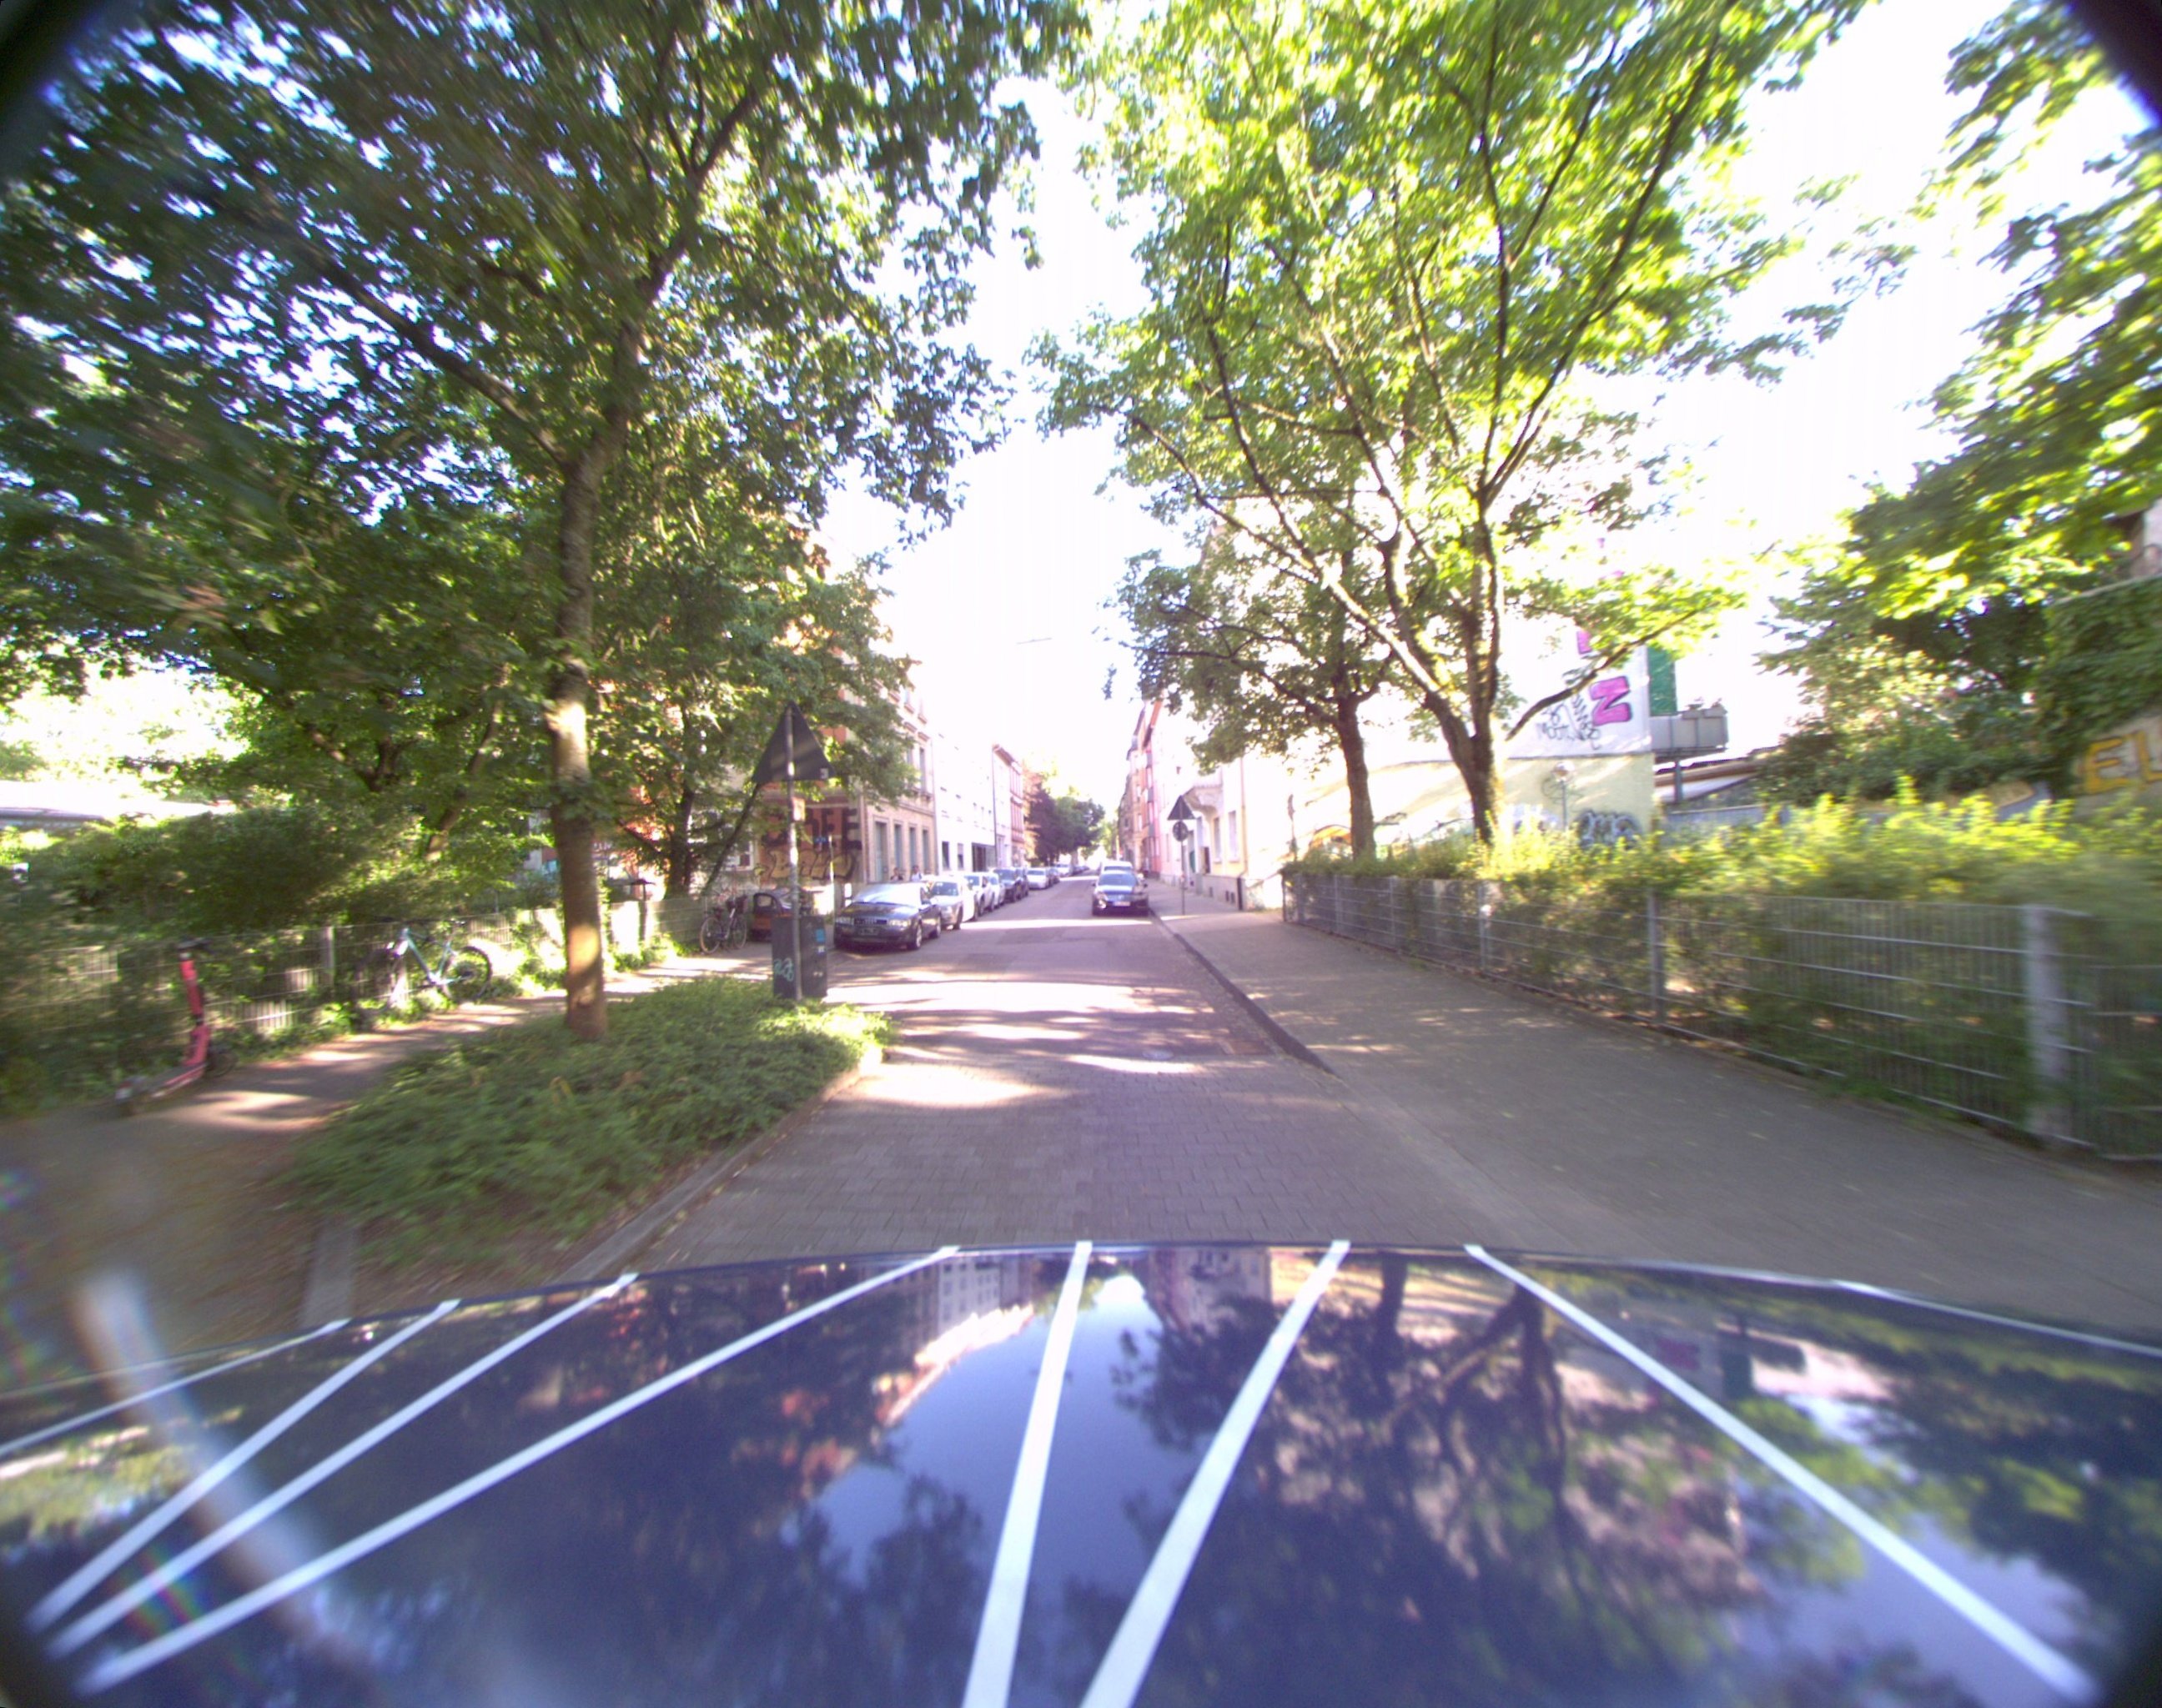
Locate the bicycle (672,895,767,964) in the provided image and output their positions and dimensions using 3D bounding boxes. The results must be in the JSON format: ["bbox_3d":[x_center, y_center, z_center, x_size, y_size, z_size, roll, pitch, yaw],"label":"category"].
[{"bbox_3d":[-7.231,1.476,15.317,0.848,1.193,1.982,-2,-1,3],"label":"bicycle"}]

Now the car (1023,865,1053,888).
[{"bbox_3d":[-3.043,1.608,54.304,1.768,1.508,4.103,1,0,2],"label":"car"}]

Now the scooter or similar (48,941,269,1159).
[{"bbox_3d":[-6.847,1.368,5.731,0.547,1.254,1.470,-1,0,-29],"label":"scooter or similar"}]

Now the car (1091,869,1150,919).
[{"bbox_3d":[1.268,1.265,25.547,1.783,1.435,4.393,1,0,1],"label":"car"}]

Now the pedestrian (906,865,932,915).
[{"bbox_3d":[-5.664,1.254,26.538,0.712,1.699,0.752,1,0,1],"label":"pedestrian"}]

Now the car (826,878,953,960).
[{"bbox_3d":[-4.210,1.368,17.399,1.725,1.485,4.414,-1,0,1],"label":"car"}]

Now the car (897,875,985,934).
[{"bbox_3d":[-4.014,1.406,22.453,1.663,1.485,4.354,-1,0,2],"label":"car"}]

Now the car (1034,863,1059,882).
[{"bbox_3d":[-2.861,1.540,63.497,1.768,1.524,4.103,0,0,2],"label":"car"}]

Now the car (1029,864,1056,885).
[{"bbox_3d":[-2.925,1.549,59.032,1.768,1.524,4.103,0,0,2],"label":"car"}]

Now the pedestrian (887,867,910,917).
[{"bbox_3d":[-6.329,1.304,26.366,0.599,1.699,0.706,1,0,1],"label":"pedestrian"}]

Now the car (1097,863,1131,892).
[{"bbox_3d":[1.949,1.304,43.826,1.674,1.518,4.087,1,0,7],"label":"car"}]

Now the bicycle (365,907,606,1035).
[{"bbox_3d":[-7.488,1.397,9.826,0.848,1.260,2.693,-2,-1,3],"label":"bicycle"}]

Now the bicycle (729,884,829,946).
[{"bbox_3d":[-7.056,1.399,17.958,1.293,1.294,2.327,0,0,4],"label":"bicycle"}]

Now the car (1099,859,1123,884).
[{"bbox_3d":[2.281,1.314,58.287,1.768,1.814,4.103,1,0,2],"label":"car"}]

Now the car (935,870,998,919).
[{"bbox_3d":[-4.085,1.399,27.575,1.597,1.576,3.764,-1,0,2],"label":"car"}]

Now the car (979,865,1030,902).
[{"bbox_3d":[-3.640,1.369,36.714,1.770,1.657,4.329,-1,0,3],"label":"car"}]

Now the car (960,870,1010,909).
[{"bbox_3d":[-3.976,1.448,31.903,1.597,1.442,4.003,-1,0,0],"label":"car"}]

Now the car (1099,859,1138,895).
[{"bbox_3d":[1.863,1.132,38.889,1.754,1.731,4.315,1,0,0],"label":"car"}]

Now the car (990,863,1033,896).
[{"bbox_3d":[-3.773,1.357,41.884,1.885,1.657,4.328,1,0,2],"label":"car"}]

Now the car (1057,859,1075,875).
[{"bbox_3d":[-1.865,1.660,95.953,1.865,1.970,4.482,1,0,5],"label":"car"}]

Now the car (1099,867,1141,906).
[{"bbox_3d":[1.605,1.264,30.903,1.597,1.442,3.486,1,0,3],"label":"car"}]

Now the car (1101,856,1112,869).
[{"bbox_3d":[4.081,1.372,123.174,1.768,2.074,4.264,1,0,2],"label":"car"}]

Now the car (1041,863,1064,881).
[{"bbox_3d":[-2.572,1.563,68.643,1.768,1.524,4.103,1,0,2],"label":"car"}]
